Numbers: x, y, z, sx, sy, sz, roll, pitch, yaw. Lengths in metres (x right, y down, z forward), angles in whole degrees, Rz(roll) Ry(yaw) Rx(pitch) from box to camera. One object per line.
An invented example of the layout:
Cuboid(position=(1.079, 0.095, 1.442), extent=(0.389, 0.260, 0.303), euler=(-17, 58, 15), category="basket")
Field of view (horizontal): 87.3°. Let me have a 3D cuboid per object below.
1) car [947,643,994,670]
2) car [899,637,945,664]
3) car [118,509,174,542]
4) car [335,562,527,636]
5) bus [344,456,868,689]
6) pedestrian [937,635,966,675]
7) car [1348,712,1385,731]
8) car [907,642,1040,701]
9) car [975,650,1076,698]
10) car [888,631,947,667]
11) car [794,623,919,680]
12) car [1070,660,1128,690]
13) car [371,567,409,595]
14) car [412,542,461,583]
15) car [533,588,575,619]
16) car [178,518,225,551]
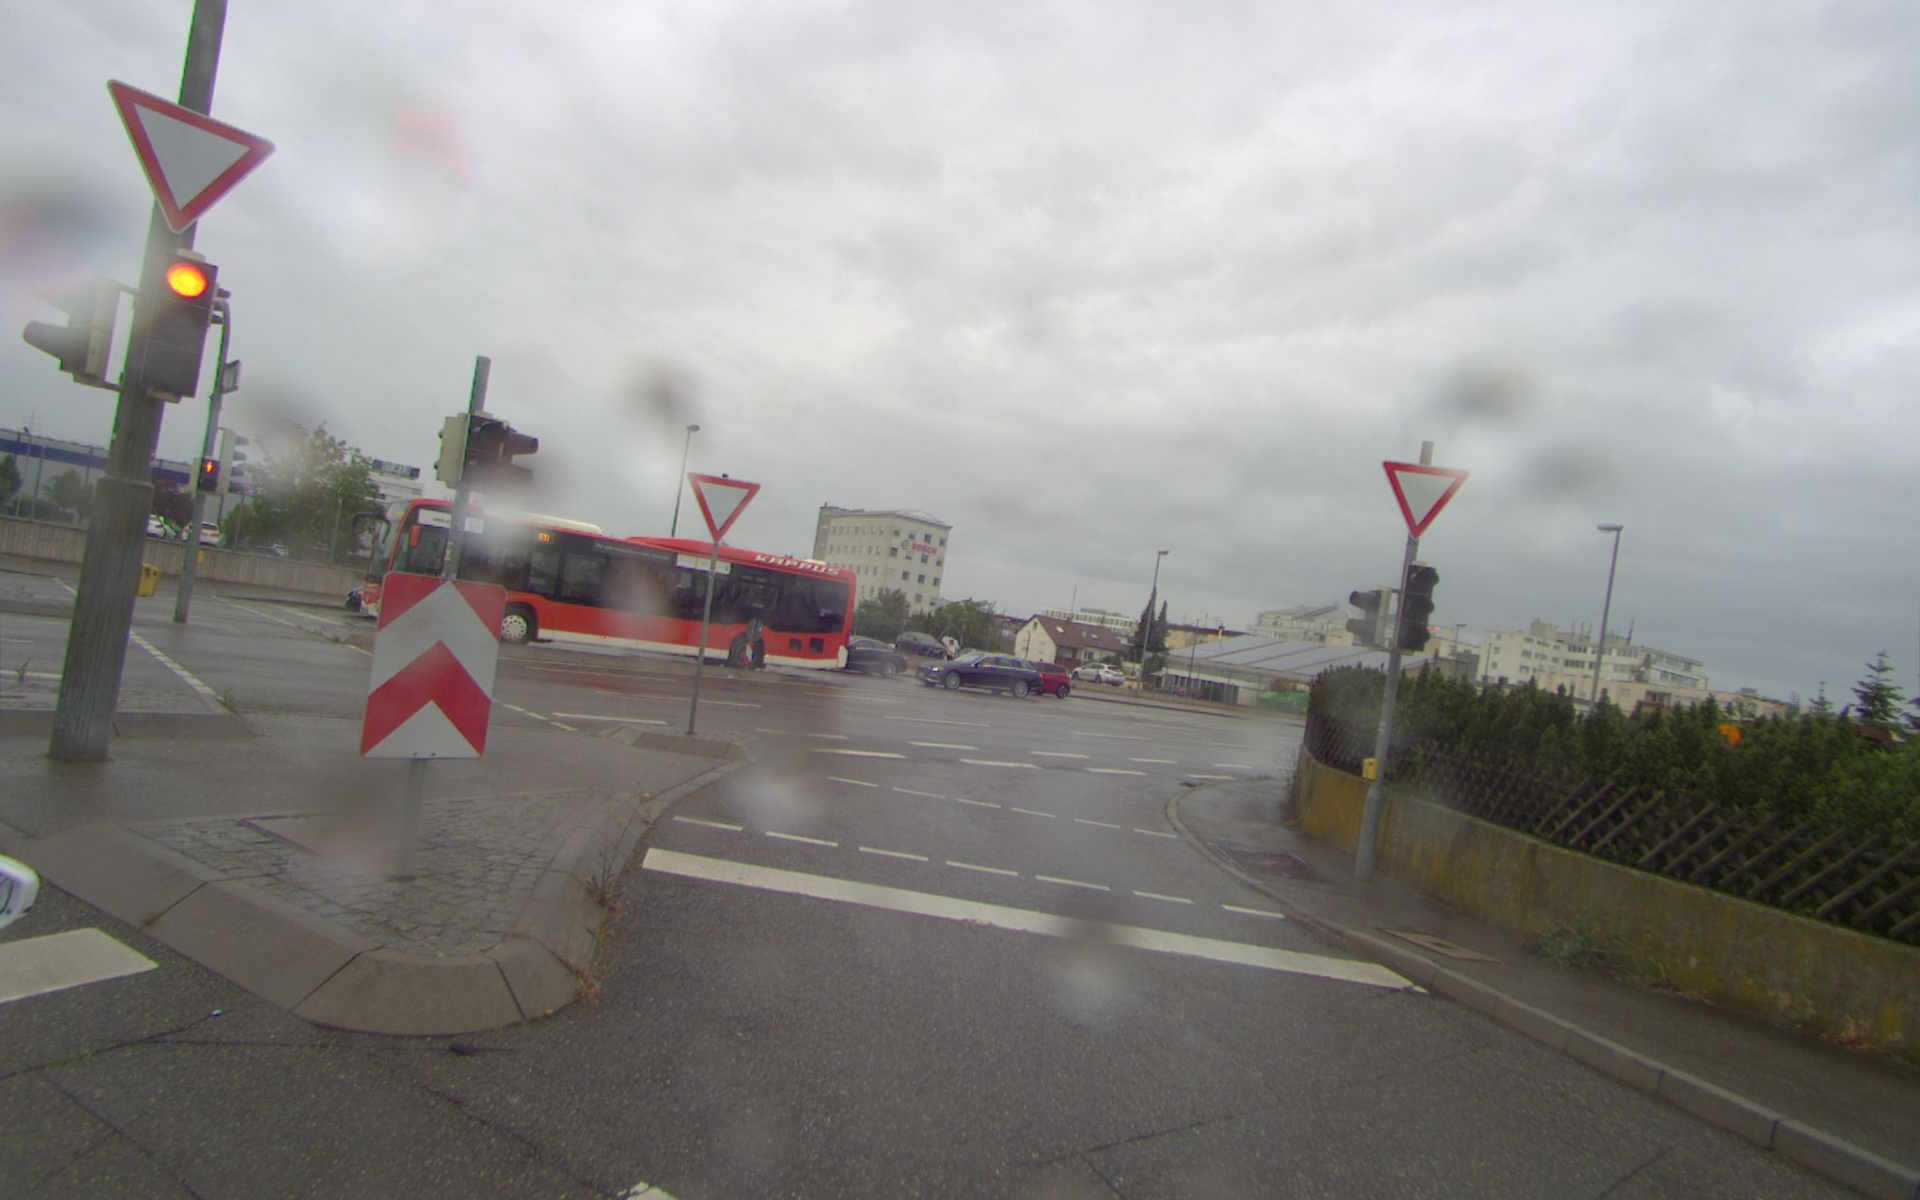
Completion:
Cuboid(position=(0.865, 4.676, 83.585), extent=(1.980, 1.636, 3.970), euler=(9, -2, -30), category="car")
Cuboid(position=(-3.102, 4.060, 81.297), extent=(1.980, 1.636, 3.970), euler=(9, -2, -30), category="car")
Cuboid(position=(-45.613, -4.122, 56.446), extent=(1.805, 1.450, 4.071), euler=(8, -2, -32), category="car")
Cuboid(position=(-14.811, -0.001, 28.303), extent=(4.367, 1.370, 1.804), euler=(10, -3, -42), category="car")
Cuboid(position=(-8.341, -0.295, 25.914), extent=(12.223, 3.614, 2.952), euler=(12, -4, -41), category="bus")
Cuboid(position=(-0.400, 2.525, 46.471), extent=(0.819, 1.723, 0.893), euler=(8, -1, -30), category="pedestrian")
Cuboid(position=(41.396, 12.330, 102.350), extent=(3.616, 1.436, 1.720), euler=(10, -2, -36), category="car")
Cuboid(position=(0.497, 2.605, 36.714), extent=(4.324, 1.524, 1.987), euler=(9, -2, -28), category="car")
Cuboid(position=(2.833, 3.192, 43.308), extent=(3.948, 1.525, 1.853), euler=(9, -2, -36), category="car")
Cuboid(position=(-2.636, 2.954, 61.605), extent=(1.912, 1.684, 3.869), euler=(9, -2, -29), category="car")
Cuboid(position=(-3.893, 1.972, 38.185), extent=(4.367, 1.555, 1.804), euler=(10, -3, -42), category="car")
Cuboid(position=(9.654, 5.208, 70.116), extent=(1.976, 1.561, 3.977), euler=(9, -2, -25), category="car")
Cuboid(position=(-41.562, -1.387, 73.332), extent=(1.912, 1.607, 3.754), euler=(9, -2, -34), category="car")
Cuboid(position=(-30.066, -2.159, 57.740), extent=(1.734, 2.037, 3.786), euler=(8, -2, -37), category="car")
Cuboid(position=(-31.911, 0.283, 79.077), extent=(1.983, 2.037, 3.962), euler=(8, -2, -36), category="car")
Cuboid(position=(-43.825, -3.769, 58.214), extent=(1.847, 1.543, 4.066), euler=(8, -2, -35), category="car")
